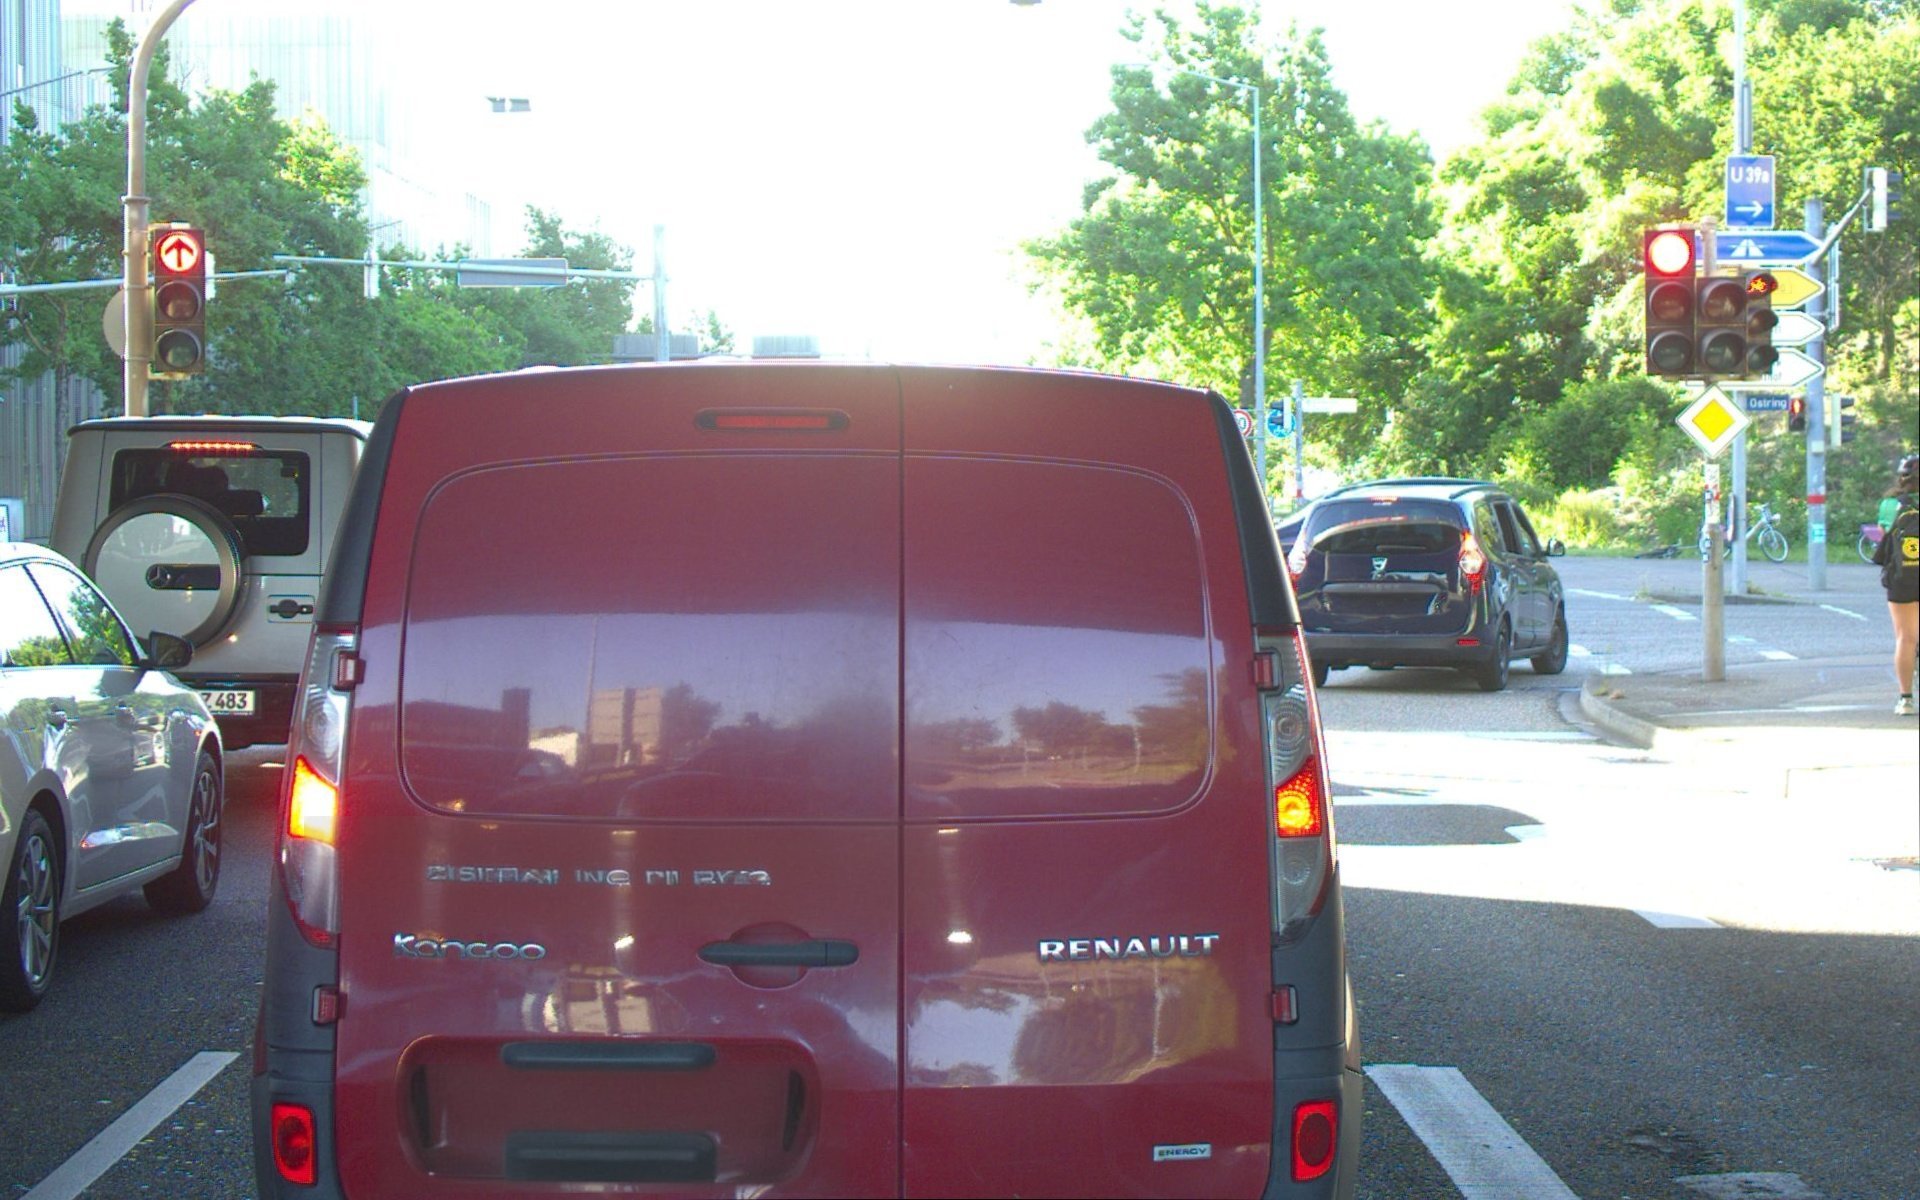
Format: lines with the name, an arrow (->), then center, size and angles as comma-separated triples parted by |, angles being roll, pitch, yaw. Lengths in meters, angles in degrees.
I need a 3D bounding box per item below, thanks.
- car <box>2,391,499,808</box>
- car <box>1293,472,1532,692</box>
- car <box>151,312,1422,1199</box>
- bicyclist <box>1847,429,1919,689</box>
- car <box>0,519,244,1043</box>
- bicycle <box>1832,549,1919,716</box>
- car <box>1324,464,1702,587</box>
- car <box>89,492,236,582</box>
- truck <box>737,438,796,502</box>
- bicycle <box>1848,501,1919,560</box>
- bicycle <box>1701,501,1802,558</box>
car -> -3.721, -0.024, 18.837 | 1.801, 1.982, 4.589 | 1, 1, -1
car -> 3.849, -0.176, 28.792 | 1.720, 1.700, 3.980 | 0, 1, 11
car -> -0.275, 0.474, 6.930 | 1.805, 1.788, 4.000 | 1, 1, -1
bicyclist -> 6.046, -0.258, 21.759 | 0.591, 1.608, 0.942 | 1, 0, -1
car -> -3.641, 0.468, 11.414 | 1.813, 1.433, 3.731 | 0, 2, -1
bicycle -> 6.055, 0.192, 21.768 | 0.591, 1.020, 1.750 | 1, 1, -1
car -> 7.219, -0.967, 45.095 | 4.547, 1.509, 1.828 | 1, 0, -7
car -> -16.566, -1.342, 71.629 | 1.825, 1.731, 4.629 | -2, 2, 1
truck -> -9.516, -6.380, 169.751 | 2.409, 3.016, 6.657 | -2, 2, 0
bicycle -> 16.667, -1.233, 60.920 | 1.745, 1.020, 0.593 | 1, 0, 9
bicycle -> 14.357, -1.279, 62.382 | 1.745, 1.020, 0.593 | 1, 0, 9
